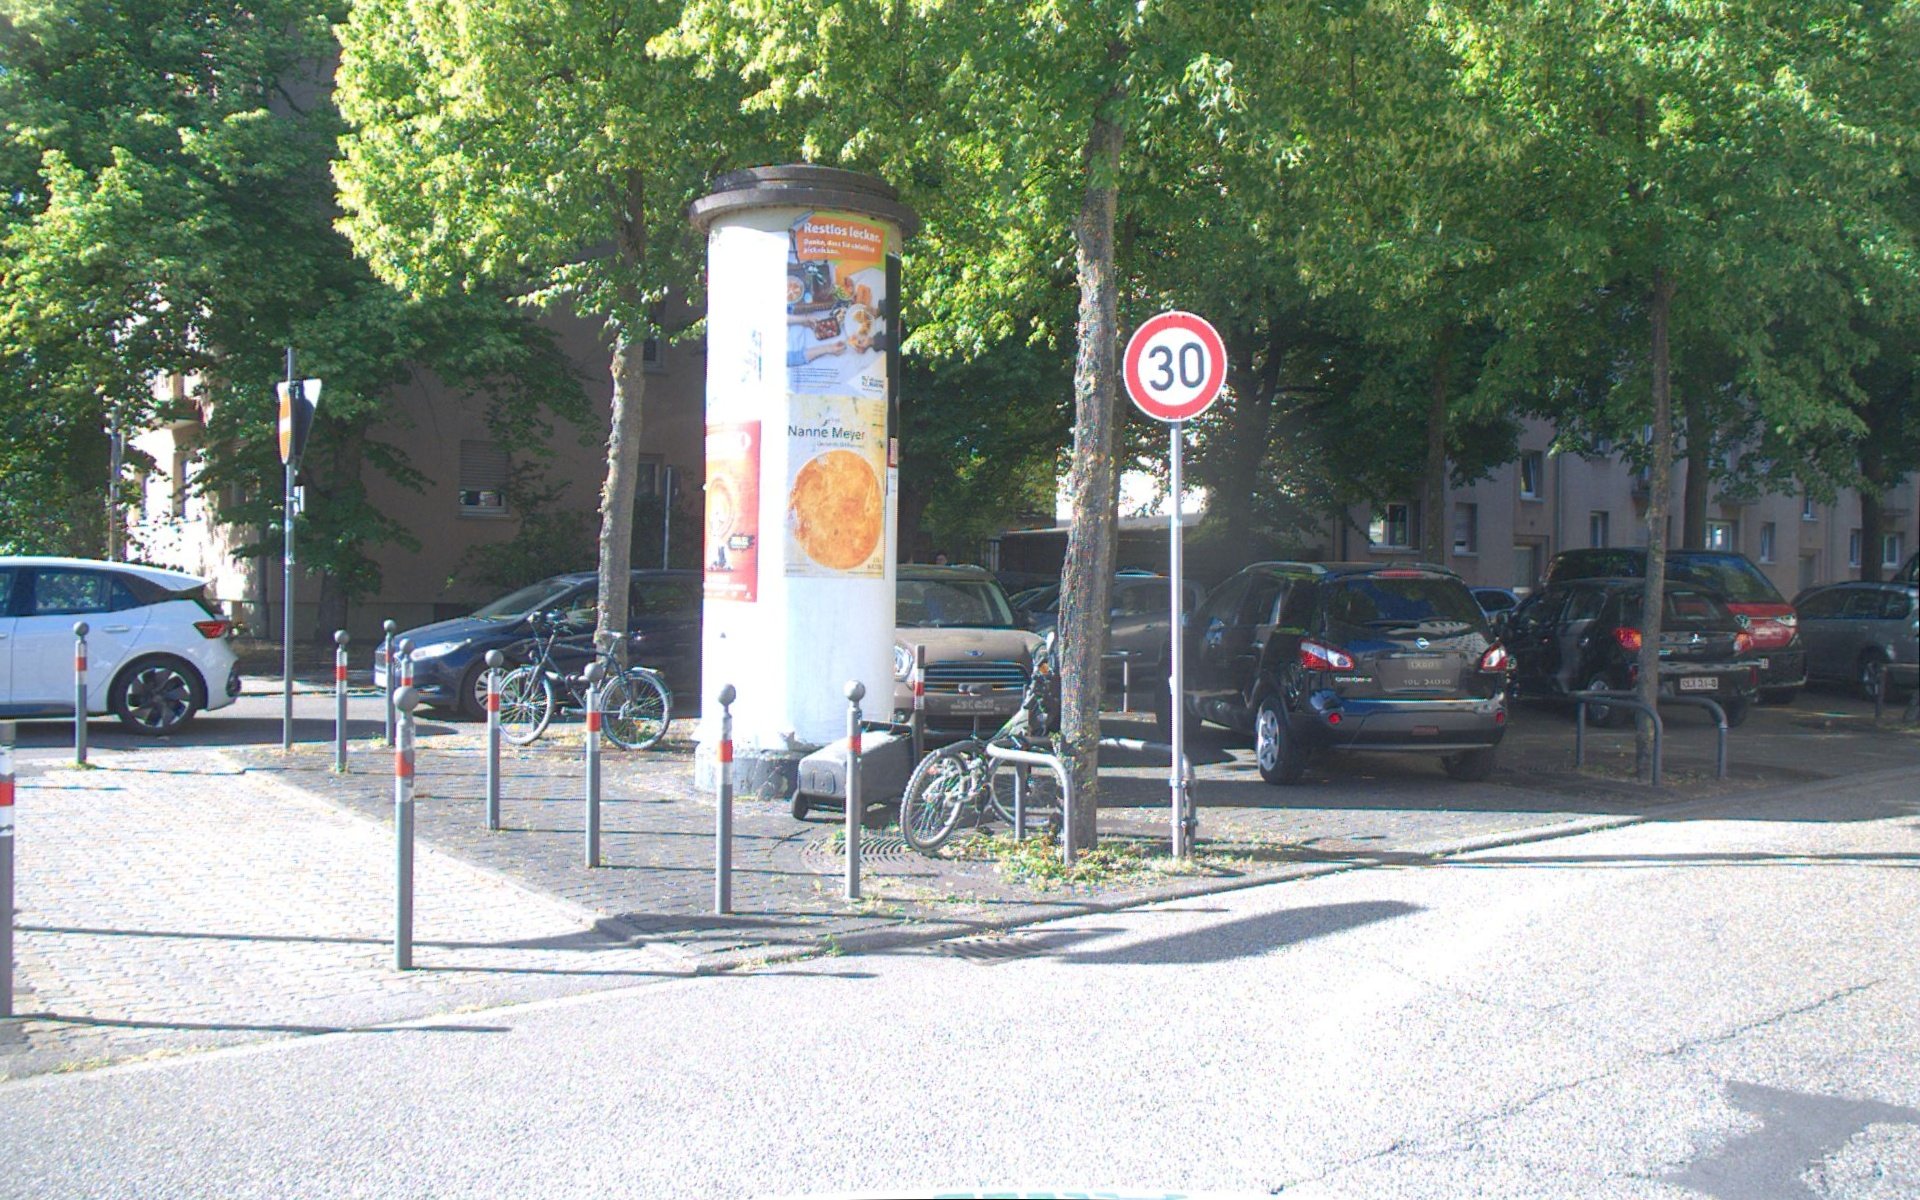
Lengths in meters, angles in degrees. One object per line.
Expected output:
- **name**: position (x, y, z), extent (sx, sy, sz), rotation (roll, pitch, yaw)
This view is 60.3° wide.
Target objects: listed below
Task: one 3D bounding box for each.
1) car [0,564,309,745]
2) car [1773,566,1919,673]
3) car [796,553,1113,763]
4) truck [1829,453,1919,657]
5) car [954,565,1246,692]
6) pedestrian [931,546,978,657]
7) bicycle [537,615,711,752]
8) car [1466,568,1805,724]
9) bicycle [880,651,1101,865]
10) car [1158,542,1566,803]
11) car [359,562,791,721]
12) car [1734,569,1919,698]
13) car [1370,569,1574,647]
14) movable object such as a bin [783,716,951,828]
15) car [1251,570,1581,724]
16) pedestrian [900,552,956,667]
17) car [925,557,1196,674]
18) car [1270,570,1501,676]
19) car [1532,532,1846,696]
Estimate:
- **car**: position (-8.679, 0.451, 14.961), extent (4.971, 1.545, 1.903), rotation (0, 1, -32)
- **car**: position (14.512, 0.249, 25.323), extent (1.772, 1.533, 4.341), rotation (0, 1, -4)
- **car**: position (-0.209, 0.422, 15.056), extent (1.885, 1.638, 3.982), rotation (0, 1, -16)
- **truck**: position (17.160, -0.726, 26.107), extent (2.490, 3.351, 7.316), rotation (0, 1, -6)
- **car**: position (1.910, 0.305, 21.801), extent (3.920, 1.512, 1.731), rotation (-1, 2, -45)
- **pedestrian**: position (-0.090, 0.015, 26.594), extent (0.725, 1.766, 0.539), rotation (0, 1, -5)
- **bicycle**: position (-2.874, 0.689, 14.268), extent (0.347, 1.091, 1.583), rotation (1, 1, 41)
- **car**: position (7.209, 0.416, 18.082), extent (1.723, 1.506, 3.816), rotation (0, 1, -9)
- **bicycle**: position (0.210, 0.873, 9.623), extent (0.347, 1.091, 1.583), rotation (1, 1, 41)
- **car**: position (3.046, 0.425, 13.569), extent (1.797, 1.700, 4.331), rotation (0, 3, -8)
- **car**: position (-4.149, 0.371, 18.130), extent (4.255, 1.545, 1.884), rotation (-1, 1, -38)
- **car**: position (12.236, 0.365, 21.848), extent (1.772, 1.533, 4.341), rotation (0, 1, -4)
- **car**: position (10.190, 0.119, 32.808), extent (4.298, 1.460, 1.746), rotation (-1, 1, -38)
- **movable object such as a bin**: position (-0.587, 1.096, 10.721), extent (0.565, 0.575, 1.111), rotation (1, 1, 32)
- **car**: position (4.751, 0.410, 17.842), extent (1.784, 1.447, 3.936), rotation (0, 1, -13)
- **pedestrian**: position (-0.504, 0.138, 25.748), extent (0.535, 1.766, 0.731), rotation (0, 1, -41)
- **car**: position (1.629, 0.187, 25.809), extent (4.206, 1.668, 1.735), rotation (-1, 1, -40)
- **car**: position (6.656, 0.300, 25.654), extent (3.920, 1.512, 1.731), rotation (-1, 2, -45)
- **car**: position (9.291, 0.123, 21.560), extent (1.891, 1.906, 4.500), rotation (0, 1, -4)
